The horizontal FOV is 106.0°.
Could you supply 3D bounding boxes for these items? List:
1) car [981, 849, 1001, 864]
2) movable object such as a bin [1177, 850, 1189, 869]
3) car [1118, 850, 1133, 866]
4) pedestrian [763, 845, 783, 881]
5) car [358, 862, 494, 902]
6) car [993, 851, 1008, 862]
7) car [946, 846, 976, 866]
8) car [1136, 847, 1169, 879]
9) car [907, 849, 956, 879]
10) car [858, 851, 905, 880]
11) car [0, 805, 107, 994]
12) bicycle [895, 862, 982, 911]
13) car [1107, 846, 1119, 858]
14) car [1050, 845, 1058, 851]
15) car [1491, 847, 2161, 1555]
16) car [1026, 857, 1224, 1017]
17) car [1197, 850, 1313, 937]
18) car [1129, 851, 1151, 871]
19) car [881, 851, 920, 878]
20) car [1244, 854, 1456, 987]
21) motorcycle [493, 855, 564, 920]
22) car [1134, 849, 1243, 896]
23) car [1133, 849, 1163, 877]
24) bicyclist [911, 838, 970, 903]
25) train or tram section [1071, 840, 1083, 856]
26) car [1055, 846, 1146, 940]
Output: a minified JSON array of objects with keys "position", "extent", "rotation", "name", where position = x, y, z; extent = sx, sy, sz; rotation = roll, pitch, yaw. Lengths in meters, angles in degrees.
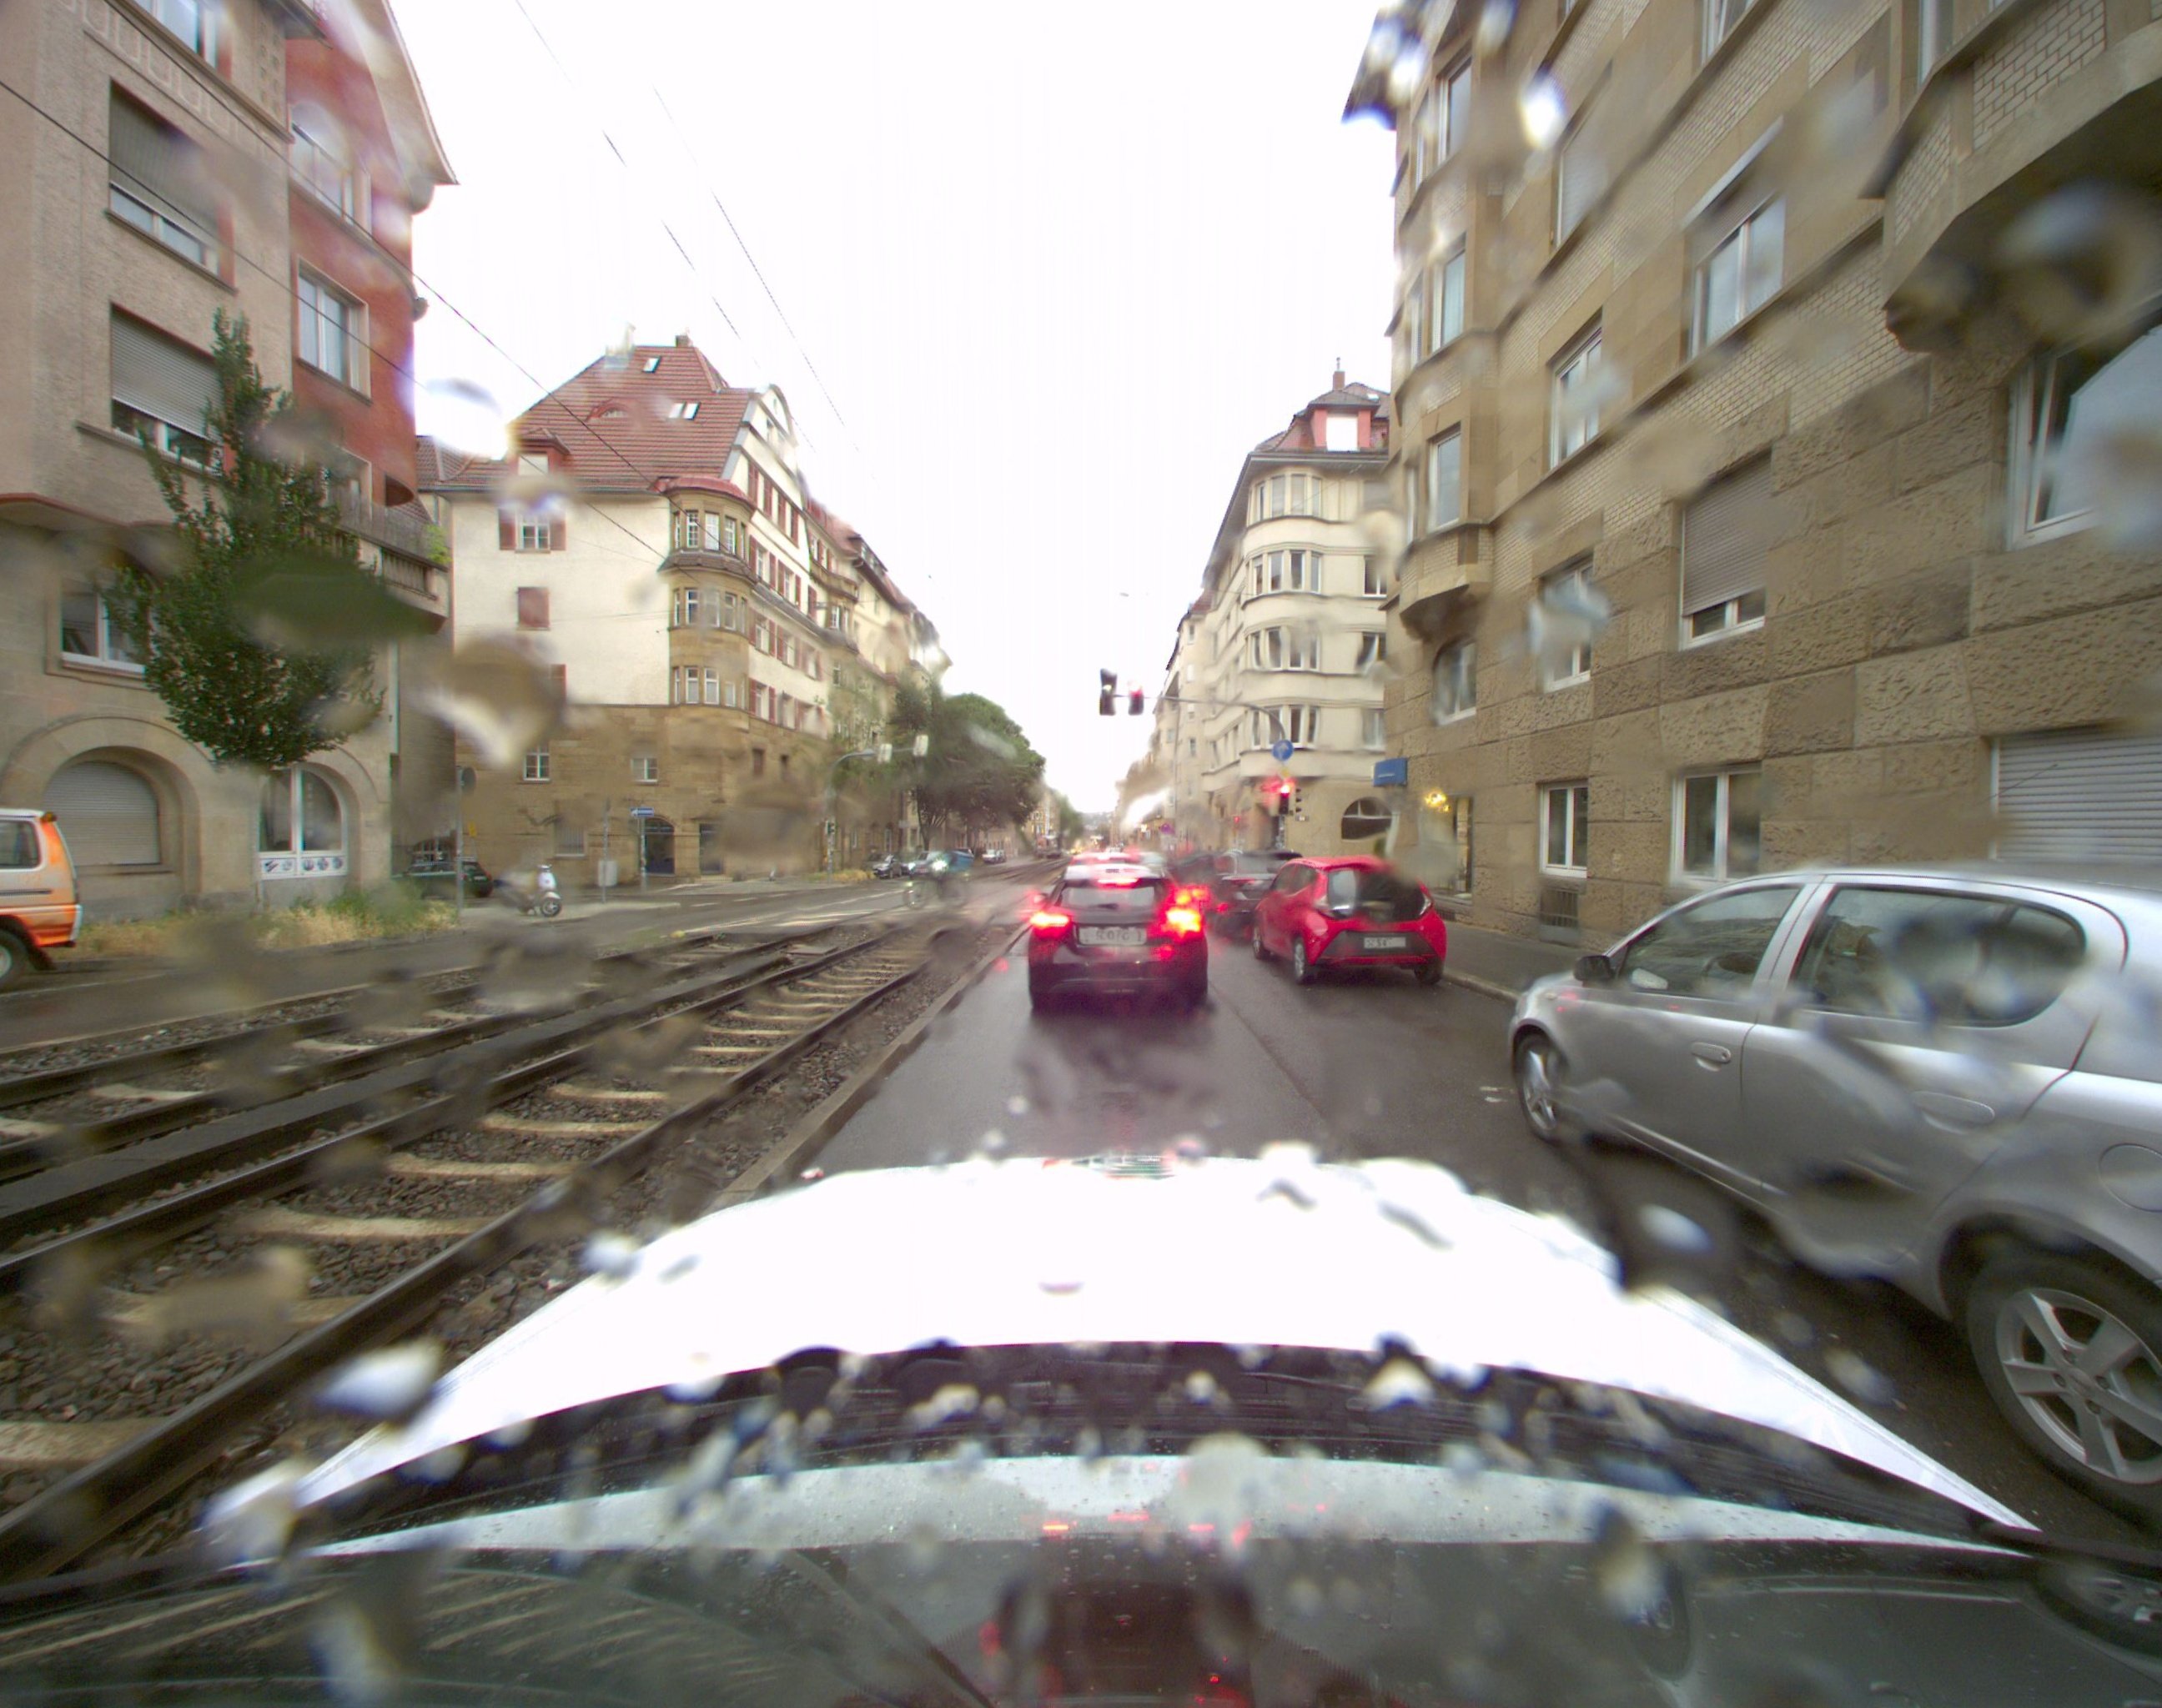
[{"position":[-9.870,0.283,89.604],"extent":[1.583,1.581,3.920],"rotation":[0,-1,2],"name":"car"},{"position":[7.473,0.396,59.565],"extent":[0.873,1.389,0.984],"rotation":[-1,-1,5],"name":"movable object such as a bin"},{"position":[4.024,0.375,73.682],"extent":[1.289,1.442,2.930],"rotation":[0,0,2],"name":"car"},{"position":[-14.377,0.429,37.978],"extent":[0.628,1.672,0.703],"rotation":[0,-1,2],"name":"pedestrian"},{"position":[-24.381,1.011,30.414],"extent":[3.633,1.404,1.699],"rotation":[0,-1,-3],"name":"car"},{"position":[-9.801,0.268,99.020],"extent":[1.443,1.331,3.271],"rotation":[0,-1,0],"name":"car"},{"position":[-10.598,0.195,72.147],"extent":[1.868,1.737,3.920],"rotation":[0,-1,2],"name":"car"},{"position":[3.702,0.462,42.710],"extent":[1.539,1.590,3.549],"rotation":[0,0,2],"name":"car"},{"position":[-8.269,0.567,45.438],"extent":[1.891,1.588,3.974],"rotation":[0,-1,2],"name":"car"},{"position":[-11.254,0.628,46.124],"extent":[1.747,1.552,4.033],"rotation":[0,-1,-2],"name":"car"},{"position":[-12.118,0.468,7.217],"extent":[1.725,1.975,4.341],"rotation":[0,-1,0],"name":"car"},{"position":[-3.613,0.800,20.716],"extent":[2.043,1.186,0.818],"rotation":[0,-1,-29],"name":"bicycle"},{"position":[5.241,-0.298,133.783],"extent":[1.986,1.876,4.001],"rotation":[0,-1,2],"name":"car"},{"position":[-5.214,-1.169,159.556],"extent":[1.372,1.249,3.297],"rotation":[0,-1,0],"name":"car"},{"position":[3.151,0.732,3.108],"extent":[1.608,1.467,3.314],"rotation":[-2,0,3],"name":"car"},{"position":[0.471,0.772,9.572],"extent":[1.822,1.458,4.105],"rotation":[0,0,2],"name":"car"},{"position":[3.247,0.677,15.818],"extent":[1.539,1.486,3.831],"rotation":[0,0,2],"name":"car"},{"position":[4.415,0.503,61.591],"extent":[1.539,1.486,3.549],"rotation":[0,0,2],"name":"car"},{"position":[-11.286,0.633,51.159],"extent":[1.713,1.611,3.914],"rotation":[0,-1,-3],"name":"car"},{"position":[3.281,0.723,10.574],"extent":[1.637,1.448,3.298],"rotation":[0,0,-1],"name":"car"},{"position":[-12.063,0.708,17.773],"extent":[1.577,1.365,0.628],"rotation":[-1,-1,28],"name":"motorcycle"},{"position":[3.915,0.634,29.547],"extent":[3.642,1.636,1.558],"rotation":[0,0,22],"name":"car"},{"position":[3.843,0.504,47.184],"extent":[1.539,1.590,3.549],"rotation":[0,0,2],"name":"car"},{"position":[-3.585,0.415,20.743],"extent":[1.257,1.597,0.879],"rotation":[0,-1,-30],"name":"bicyclist"},{"position":[-0.980,-1.546,216.178],"extent":[2.772,3.861,10.433],"rotation":[0,-1,2],"name":"train or tram section"},{"position":[0.396,0.689,15.967],"extent":[1.559,1.609,3.815],"rotation":[0,-1,2],"name":"car"}]
